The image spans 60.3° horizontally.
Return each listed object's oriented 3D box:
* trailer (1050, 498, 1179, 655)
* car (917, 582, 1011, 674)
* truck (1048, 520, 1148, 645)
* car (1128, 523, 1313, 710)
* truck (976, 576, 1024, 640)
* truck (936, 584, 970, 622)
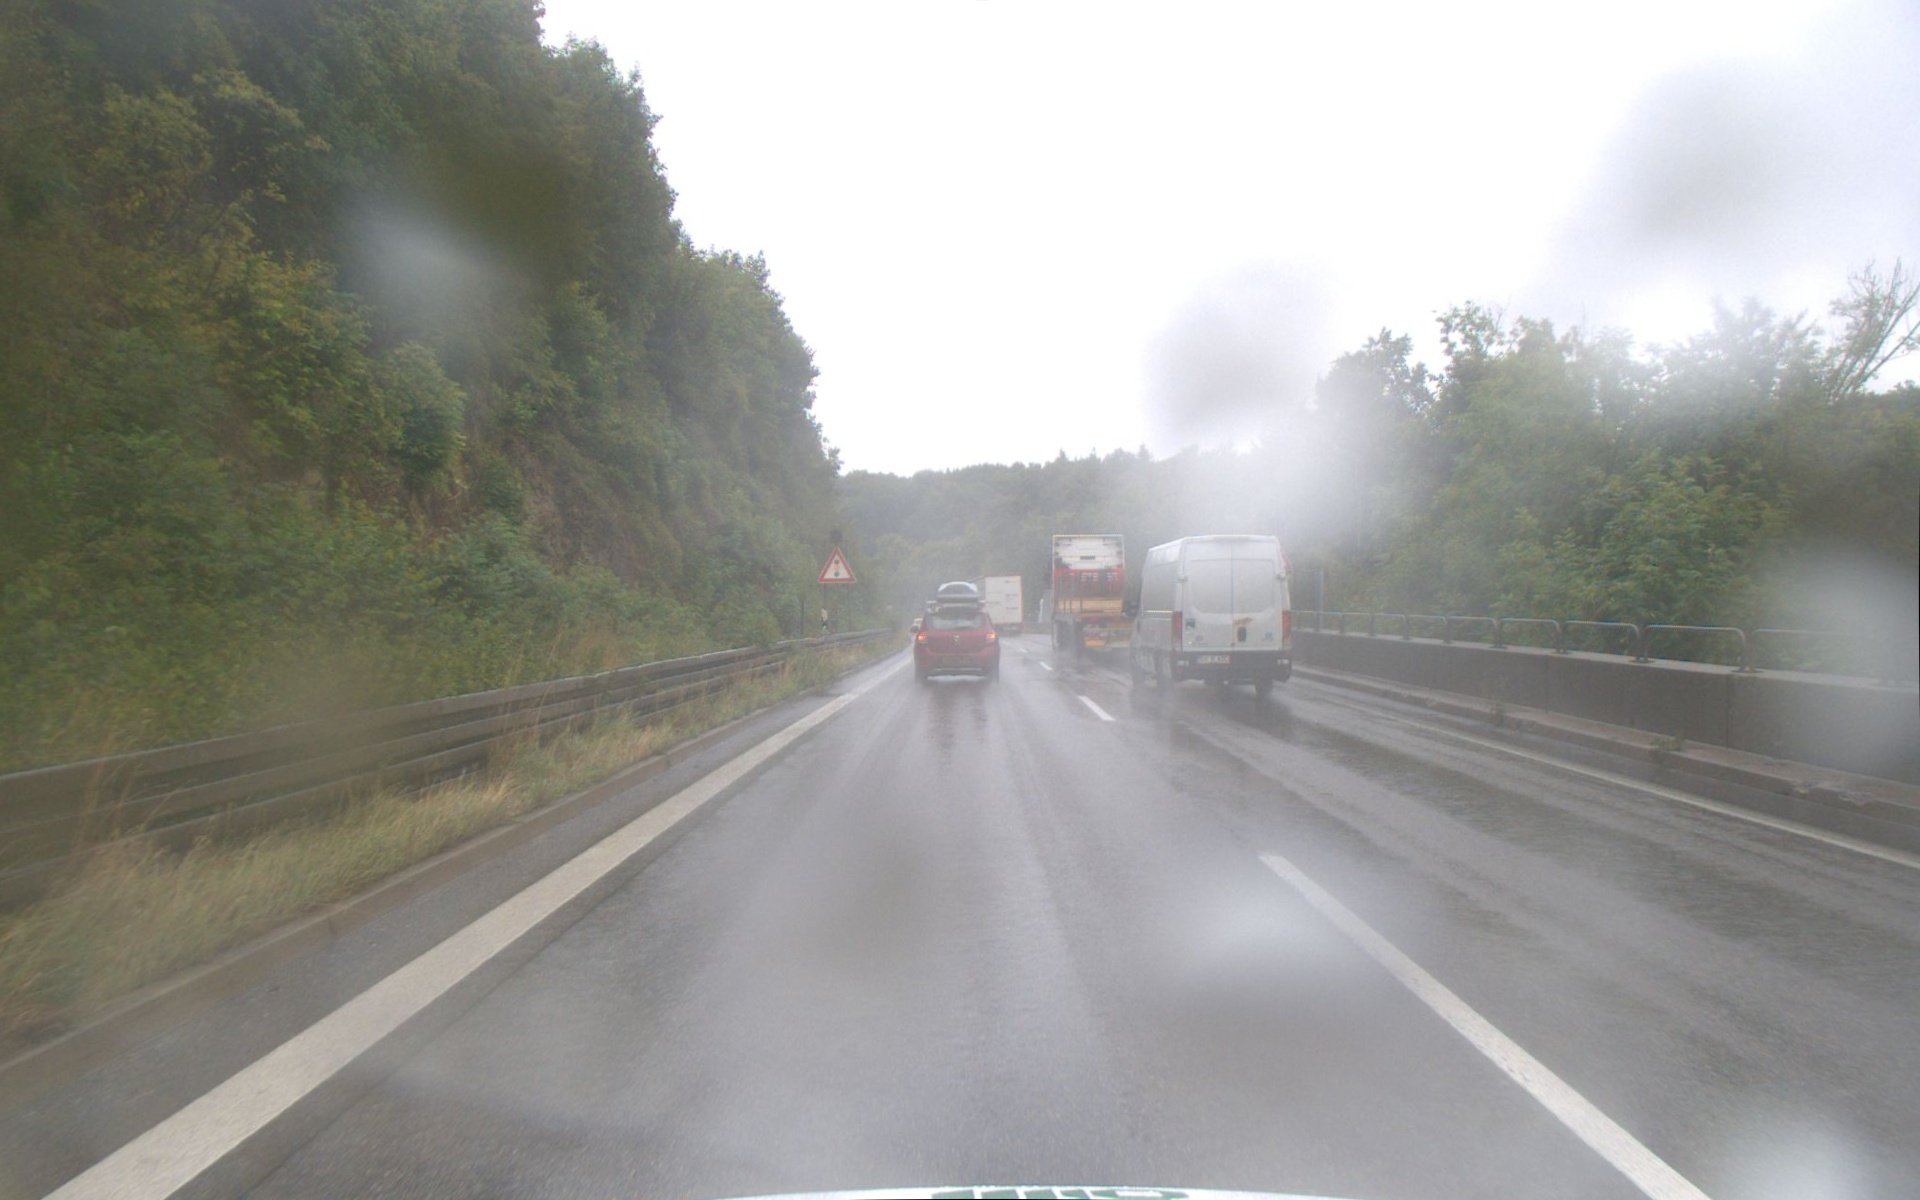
[{"bbox_3d":[4.386,-0.587,49.731,3.151,4.069,13.527,0,0,2],"label":"trailer"},{"bbox_3d":[0.135,0.546,33.765,1.722,1.714,4.001,-2,0,2],"label":"car"},{"bbox_3d":[4.625,-0.563,56.450,3.152,4.047,5.440,0,0,2],"label":"truck"},{"bbox_3d":[4.413,0.266,29.348,2.160,2.843,7.383,1,0,1],"label":"car"},{"bbox_3d":[2.739,0.581,115.461,2.633,4.165,9.310,-2,0,-2],"label":"truck"},{"bbox_3d":[-0.693,0.236,152.346,2.999,3.370,8.069,0,0,-1],"label":"truck"}]
